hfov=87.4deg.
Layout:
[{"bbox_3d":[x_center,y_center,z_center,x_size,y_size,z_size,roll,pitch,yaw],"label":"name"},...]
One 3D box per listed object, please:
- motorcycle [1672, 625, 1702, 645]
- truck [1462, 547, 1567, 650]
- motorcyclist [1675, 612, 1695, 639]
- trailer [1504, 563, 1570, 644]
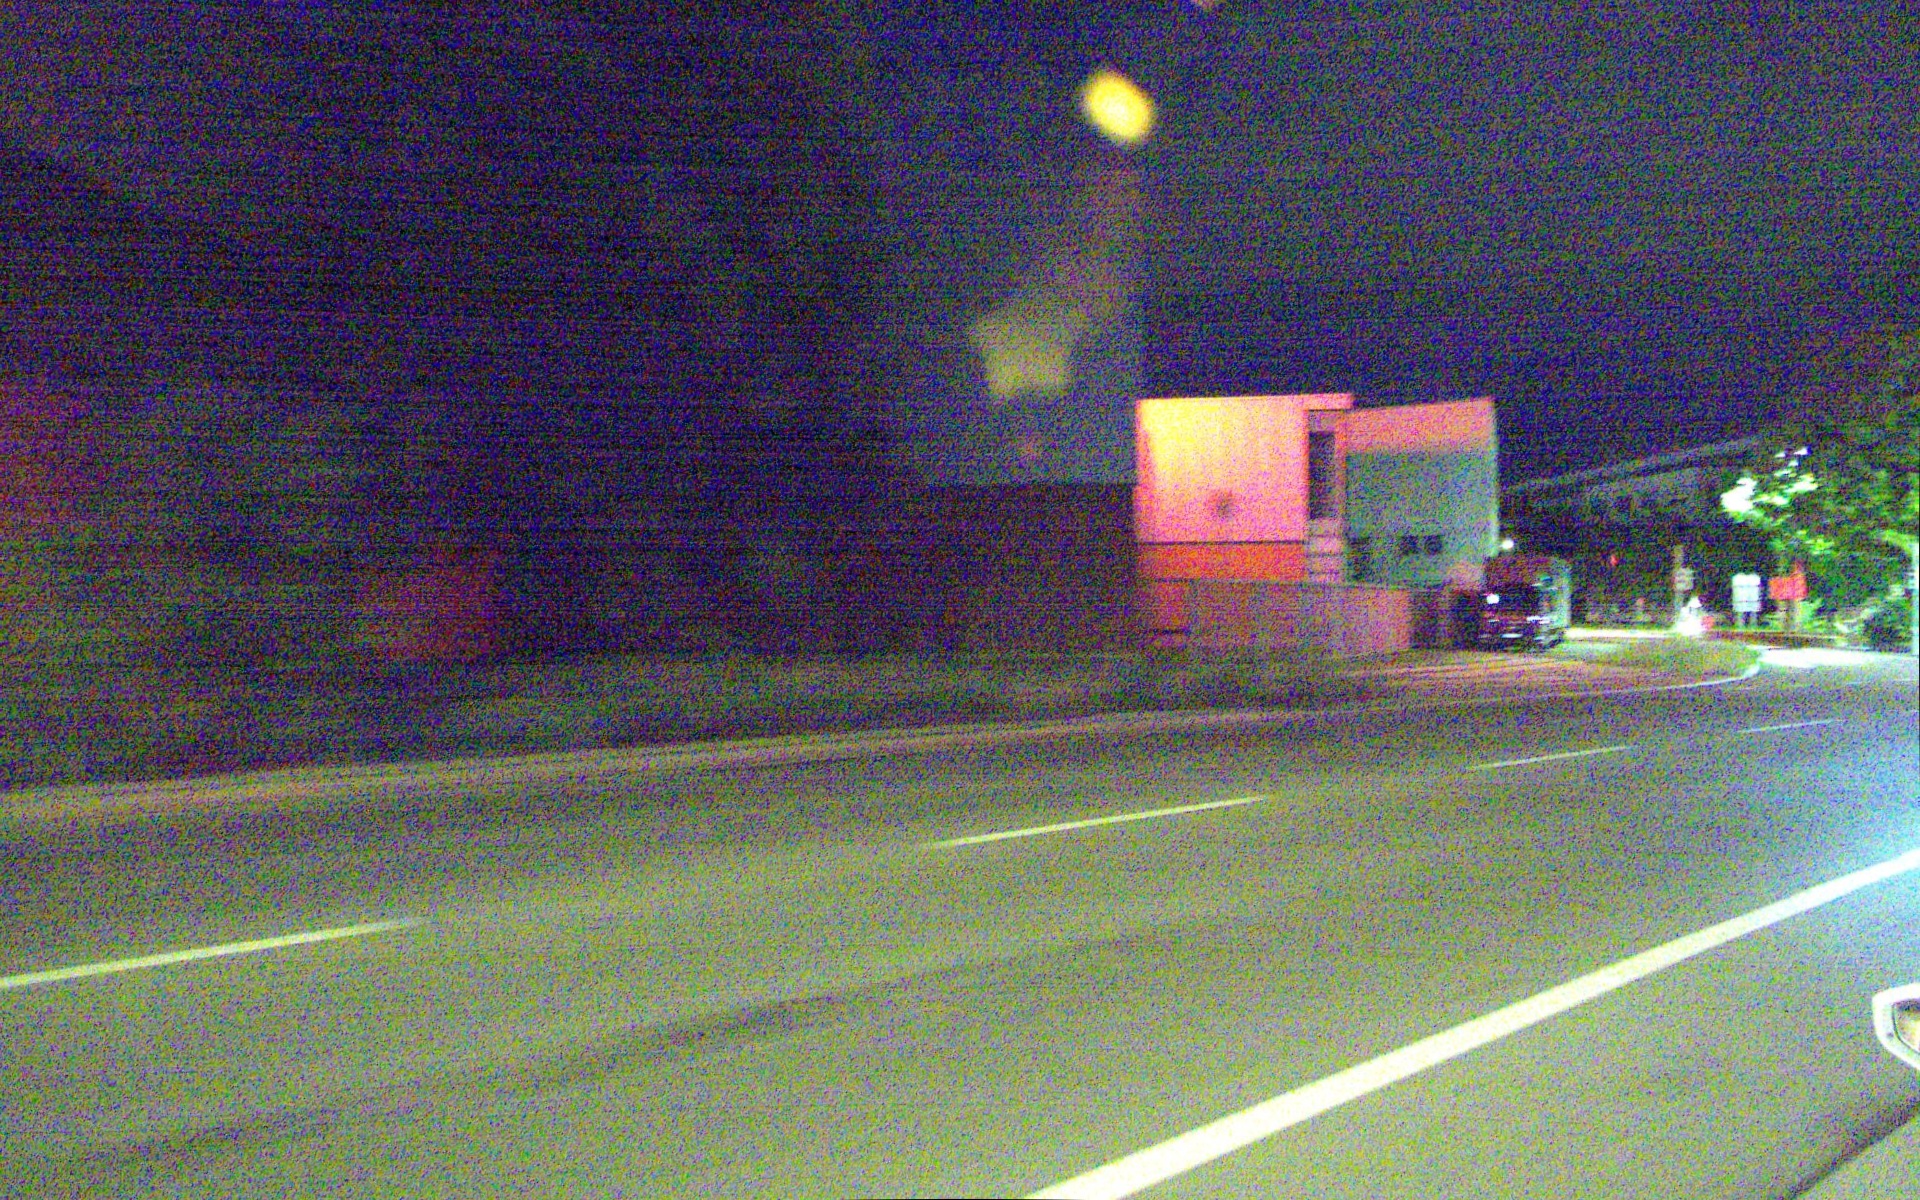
[{"bbox_3d":[35.390,1.705,48.922,0.568,0.908,2.156,-2,-2,19],"label":"motorcycle"},{"bbox_3d":[23.483,0.038,42.268,2.899,3.847,9.528,1,-1,35],"label":"truck"},{"bbox_3d":[35.207,1.248,48.786,0.636,1.278,0.579,1,0,19],"label":"motorcyclist"},{"bbox_3d":[29.458,0.224,51.148,2.577,3.841,6.497,1,-1,33],"label":"trailer"}]
